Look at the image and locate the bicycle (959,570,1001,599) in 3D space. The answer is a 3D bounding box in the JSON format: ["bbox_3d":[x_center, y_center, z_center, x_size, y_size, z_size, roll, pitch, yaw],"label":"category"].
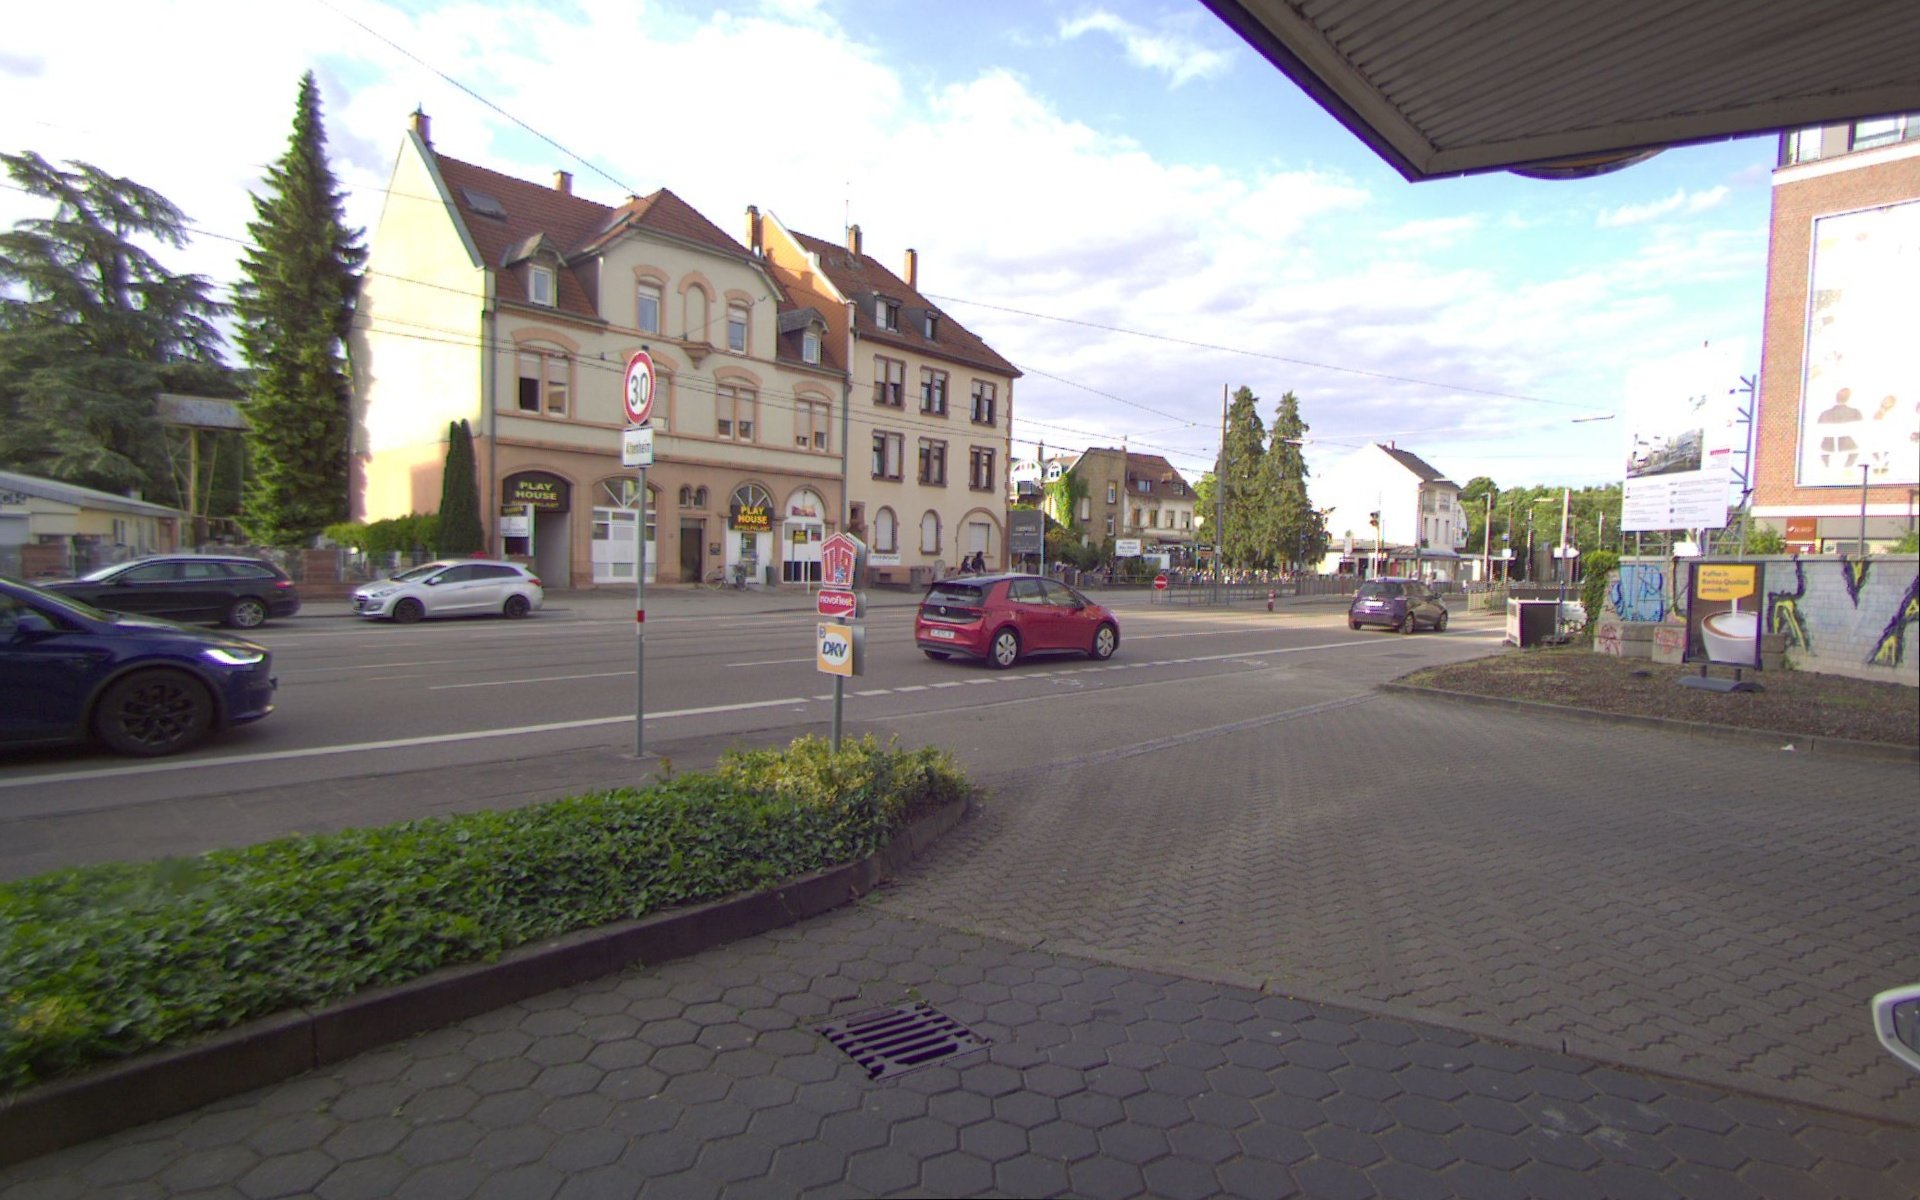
[{"bbox_3d":[0.907,-0.717,45.052,0.833,1.219,1.897,8,6,38],"label":"bicycle"}]

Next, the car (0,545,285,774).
[{"bbox_3d":[-8.199,0.420,7.650,1.744,1.679,4.824,5,4,42],"label":"car"}]

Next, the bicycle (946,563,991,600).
[{"bbox_3d":[0.390,-0.795,43.216,0.777,1.512,1.981,6,5,41],"label":"bicycle"}]

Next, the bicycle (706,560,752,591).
[{"bbox_3d":[-9.140,-0.959,39.719,0.508,1.189,1.809,4,2,40],"label":"bicycle"}]

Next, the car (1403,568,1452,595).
[{"bbox_3d":[35.660,-1.391,76.552,4.381,1.915,1.943,0,3,-44],"label":"car"}]

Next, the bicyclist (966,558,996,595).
[{"bbox_3d":[0.924,-1.054,45.018,0.833,1.579,0.960,8,6,39],"label":"bicyclist"}]

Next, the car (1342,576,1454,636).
[{"bbox_3d":[12.931,0.128,29.537,1.707,1.564,3.976,5,4,43],"label":"car"}]

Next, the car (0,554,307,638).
[{"bbox_3d":[-16.566,-0.151,20.742,1.970,1.516,4.801,3,3,40],"label":"car"}]

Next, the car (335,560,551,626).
[{"bbox_3d":[-12.998,-0.249,25.474,1.970,1.495,4.467,3,3,40],"label":"car"}]

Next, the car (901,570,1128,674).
[{"bbox_3d":[1.060,0.318,17.870,1.745,1.564,4.106,5,4,44],"label":"car"}]

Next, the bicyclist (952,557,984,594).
[{"bbox_3d":[0.363,-1.034,43.150,0.777,1.512,1.090,7,5,41],"label":"bicyclist"}]
